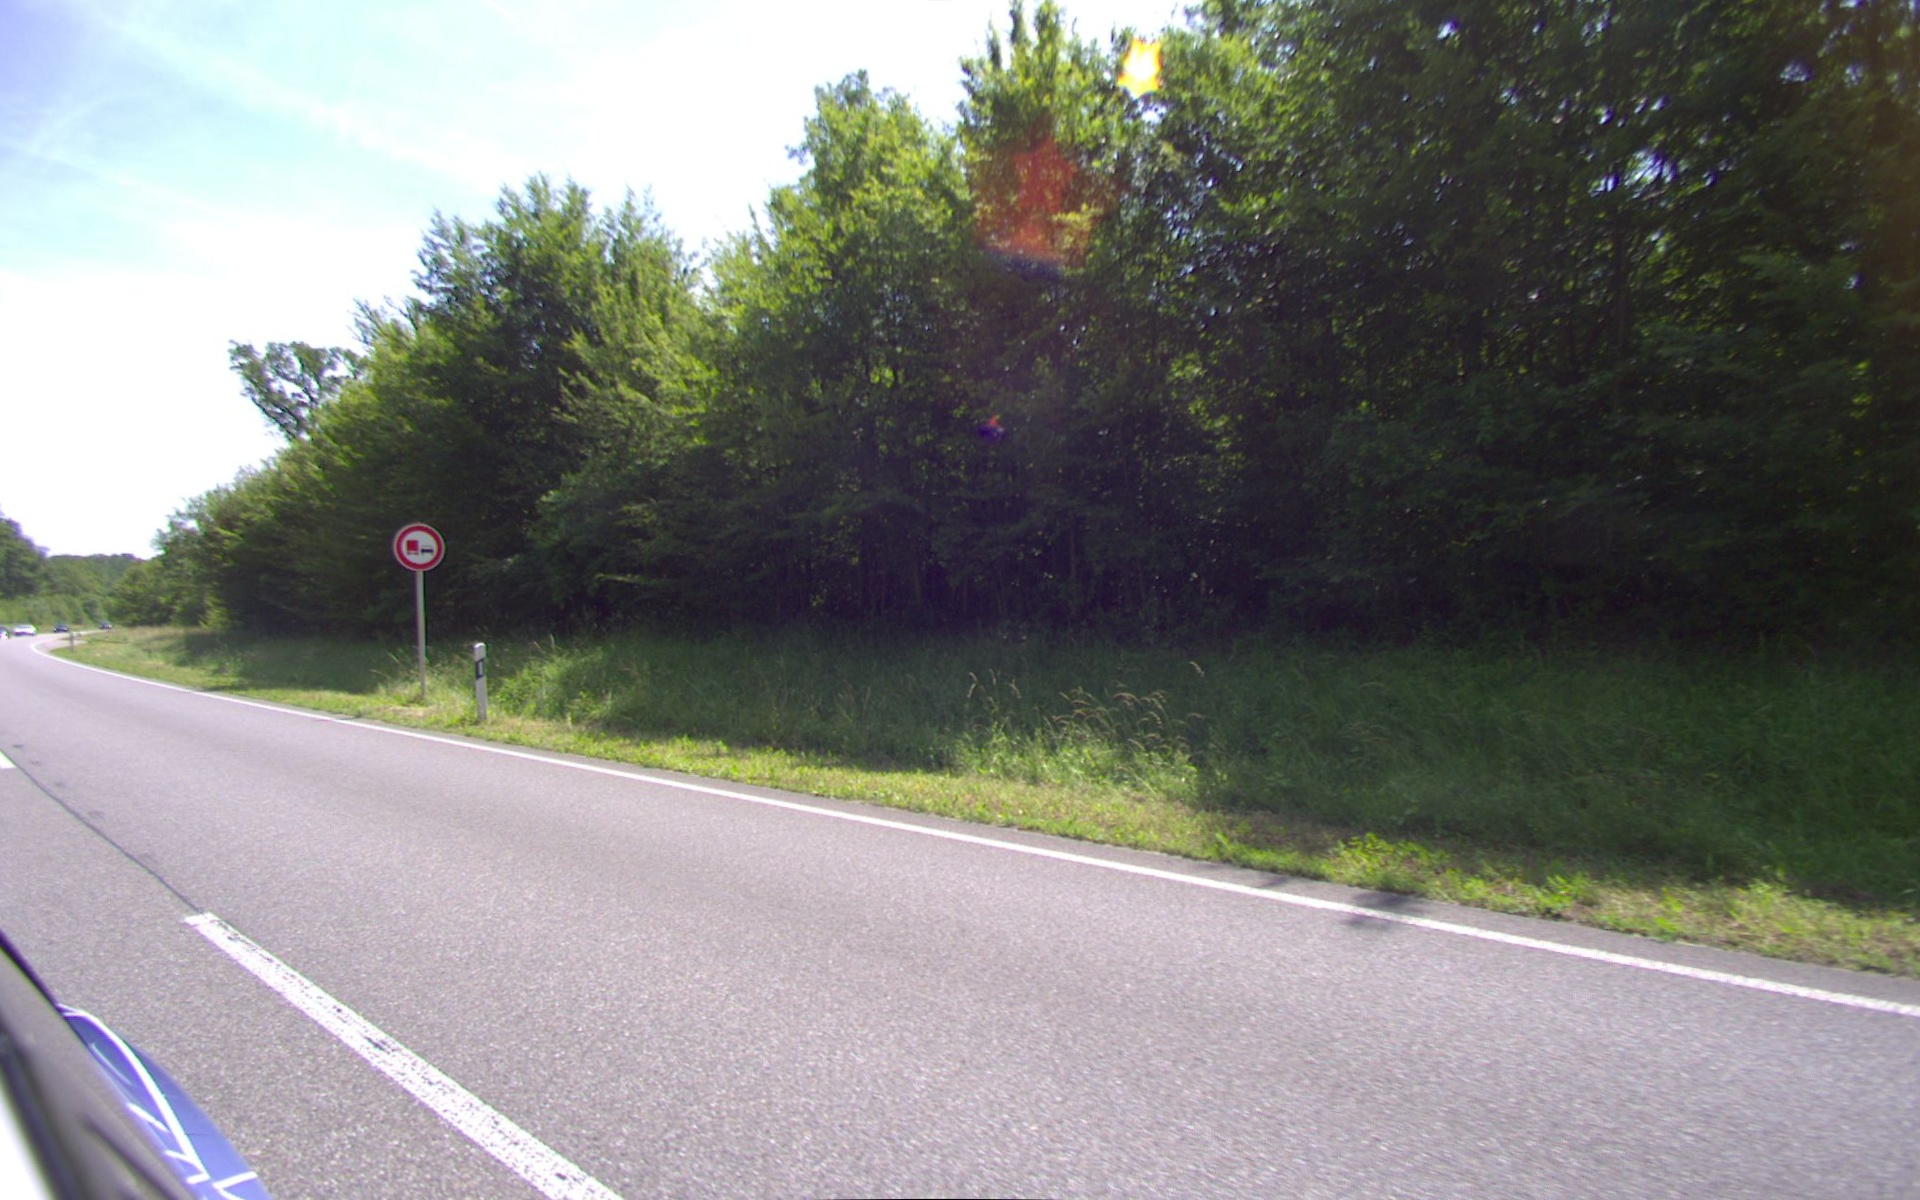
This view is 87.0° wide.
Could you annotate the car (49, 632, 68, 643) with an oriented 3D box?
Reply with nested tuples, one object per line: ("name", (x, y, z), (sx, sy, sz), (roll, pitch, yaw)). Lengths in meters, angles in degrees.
("car", (-144.752, 6.017, 162.507), (1.665, 1.741, 4.011), (0, -1, -33))

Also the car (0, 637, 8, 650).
("car", (-108.310, 4.908, 113.587), (1.749, 1.474, 4.007), (0, -1, -39))

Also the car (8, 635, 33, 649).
("car", (-125.152, 5.576, 134.841), (1.988, 1.761, 4.390), (0, -1, -37))
